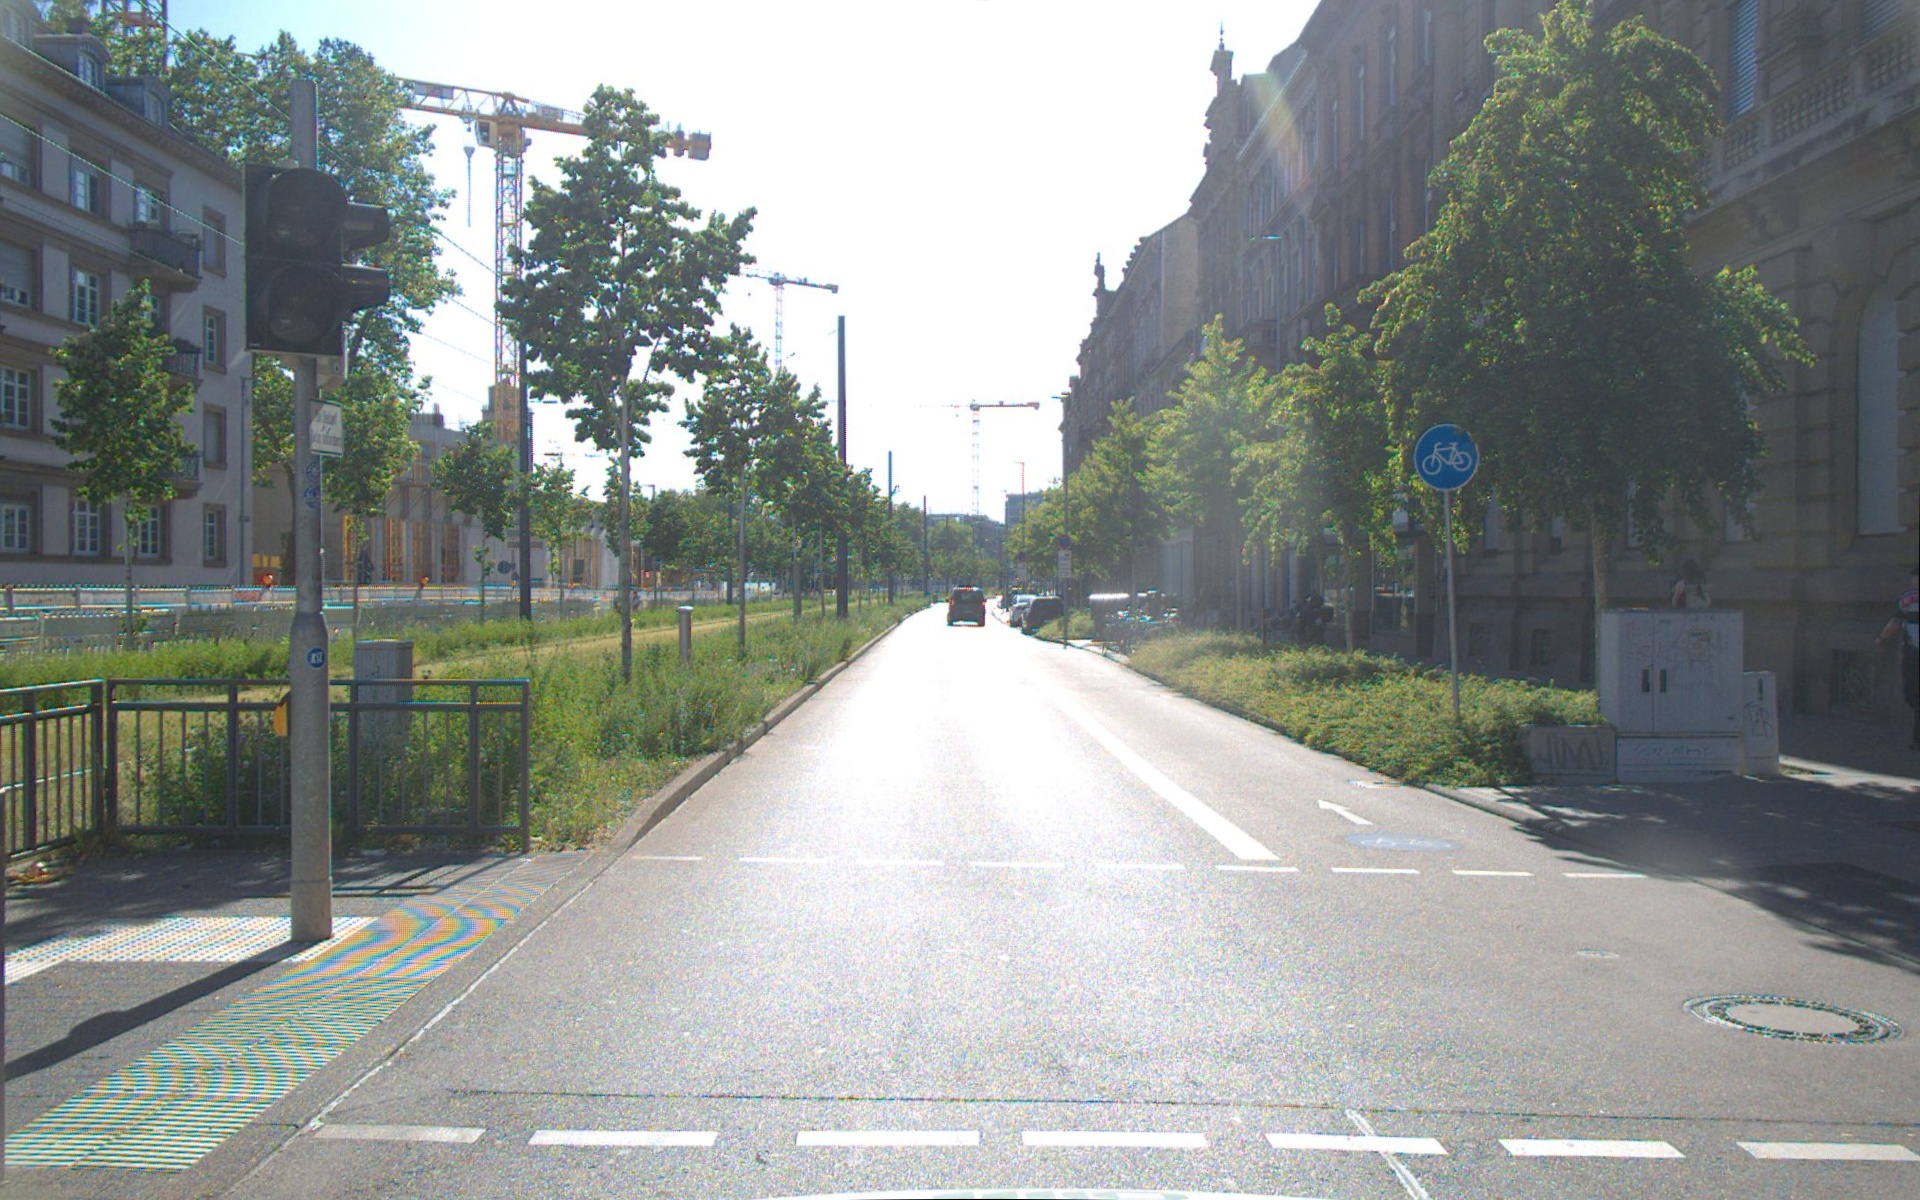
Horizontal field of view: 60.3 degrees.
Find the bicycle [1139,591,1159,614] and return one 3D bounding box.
[{"bbox_3d":[9.605,0.111,84.166,0.706,1.109,2.198,-1,0,0],"label":"bicycle"}]

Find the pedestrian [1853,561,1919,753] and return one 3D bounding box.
[{"bbox_3d":[9.088,0.496,15.404,0.949,1.722,1.114,-2,0,5],"label":"pedestrian"}]

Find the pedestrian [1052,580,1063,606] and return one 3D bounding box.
[{"bbox_3d":[8.055,-0.581,137.175,0.801,2.049,1.046,1,-2,0],"label":"pedestrian"}]

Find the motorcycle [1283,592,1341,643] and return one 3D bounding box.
[{"bbox_3d":[9.449,0.461,44.511,0.848,1.288,2.981,1,0,-1],"label":"motorcycle"}]

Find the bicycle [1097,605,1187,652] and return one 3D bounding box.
[{"bbox_3d":[4.701,0.730,42.665,2.247,1.121,0.484,-2,0,-15],"label":"bicycle"}]

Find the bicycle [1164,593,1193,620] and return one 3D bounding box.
[{"bbox_3d":[9.642,0.270,73.032,0.858,1.124,2.180,-3,0,-3],"label":"bicycle"}]

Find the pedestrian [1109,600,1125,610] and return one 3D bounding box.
[{"bbox_3d":[9.593,0.318,100.992,0.757,0.562,2.007,-1,1,-1],"label":"pedestrian"}]

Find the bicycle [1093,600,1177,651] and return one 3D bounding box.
[{"bbox_3d":[4.559,0.650,43.007,2.111,1.174,0.428,-3,1,-15],"label":"bicycle"}]

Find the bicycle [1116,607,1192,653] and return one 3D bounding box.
[{"bbox_3d":[4.822,0.731,41.157,1.780,1.074,0.571,-2,0,-7],"label":"bicycle"}]

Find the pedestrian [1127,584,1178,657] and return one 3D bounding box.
[{"bbox_3d":[4.814,0.511,41.330,0.832,1.766,0.899,-3,0,36],"label":"pedestrian"}]

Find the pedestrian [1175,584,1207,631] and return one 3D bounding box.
[{"bbox_3d":[7.978,0.249,57.146,0.931,1.594,1.080,-1,1,-1],"label":"pedestrian"}]

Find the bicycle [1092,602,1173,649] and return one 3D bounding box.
[{"bbox_3d":[4.597,0.671,44.091,2.004,1.126,0.610,-3,0,-7],"label":"bicycle"}]

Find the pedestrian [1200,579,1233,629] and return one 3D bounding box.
[{"bbox_3d":[8.843,0.133,57.123,0.951,1.667,0.992,-1,1,-1],"label":"pedestrian"}]

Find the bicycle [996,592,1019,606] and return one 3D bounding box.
[{"bbox_3d":[4.009,-0.072,139.225,1.790,1.097,0.664,-3,0,-7],"label":"bicycle"}]

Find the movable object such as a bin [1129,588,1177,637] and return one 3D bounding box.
[{"bbox_3d":[6.406,0.410,54.947,1.345,1.521,1.749,-3,0,0],"label":"movable object such as a bin"}]

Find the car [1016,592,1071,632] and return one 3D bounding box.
[{"bbox_3d":[3.394,0.483,67.607,1.730,1.502,4.446,-2,0,-3],"label":"car"}]

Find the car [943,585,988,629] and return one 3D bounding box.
[{"bbox_3d":[0.251,0.353,80.900,1.954,2.049,3.998,1,0,-3],"label":"car"}]

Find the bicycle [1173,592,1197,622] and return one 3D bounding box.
[{"bbox_3d":[9.498,0.289,69.964,0.732,1.222,1.800,-1,0,-1],"label":"bicycle"}]

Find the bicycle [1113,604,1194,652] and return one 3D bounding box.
[{"bbox_3d":[4.860,0.699,41.502,1.938,1.127,0.435,-2,0,-4],"label":"bicycle"}]

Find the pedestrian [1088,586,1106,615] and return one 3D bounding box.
[{"bbox_3d":[8.316,0.040,100.188,0.976,1.762,0.866,1,-1,-1],"label":"pedestrian"}]

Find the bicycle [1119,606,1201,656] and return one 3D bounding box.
[{"bbox_3d":[4.796,0.740,39.684,1.855,1.128,0.517,-2,0,-6],"label":"bicycle"}]

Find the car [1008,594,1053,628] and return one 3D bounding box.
[{"bbox_3d":[3.393,0.520,80.313,1.912,1.521,5.104,-2,0,0],"label":"car"}]

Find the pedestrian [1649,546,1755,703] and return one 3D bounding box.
[{"bbox_3d":[9.598,0.302,21.434,0.871,1.953,1.098,-2,0,4],"label":"pedestrian"}]

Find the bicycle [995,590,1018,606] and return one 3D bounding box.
[{"bbox_3d":[3.890,-0.144,137.689,1.843,1.255,0.499,-3,0,-6],"label":"bicycle"}]

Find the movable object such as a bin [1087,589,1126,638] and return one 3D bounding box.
[{"bbox_3d":[4.844,0.439,54.750,1.244,1.488,1.645,1,2,4],"label":"movable object such as a bin"}]

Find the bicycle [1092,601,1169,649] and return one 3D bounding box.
[{"bbox_3d":[4.587,0.676,44.499,1.937,1.143,0.481,-4,1,-6],"label":"bicycle"}]
